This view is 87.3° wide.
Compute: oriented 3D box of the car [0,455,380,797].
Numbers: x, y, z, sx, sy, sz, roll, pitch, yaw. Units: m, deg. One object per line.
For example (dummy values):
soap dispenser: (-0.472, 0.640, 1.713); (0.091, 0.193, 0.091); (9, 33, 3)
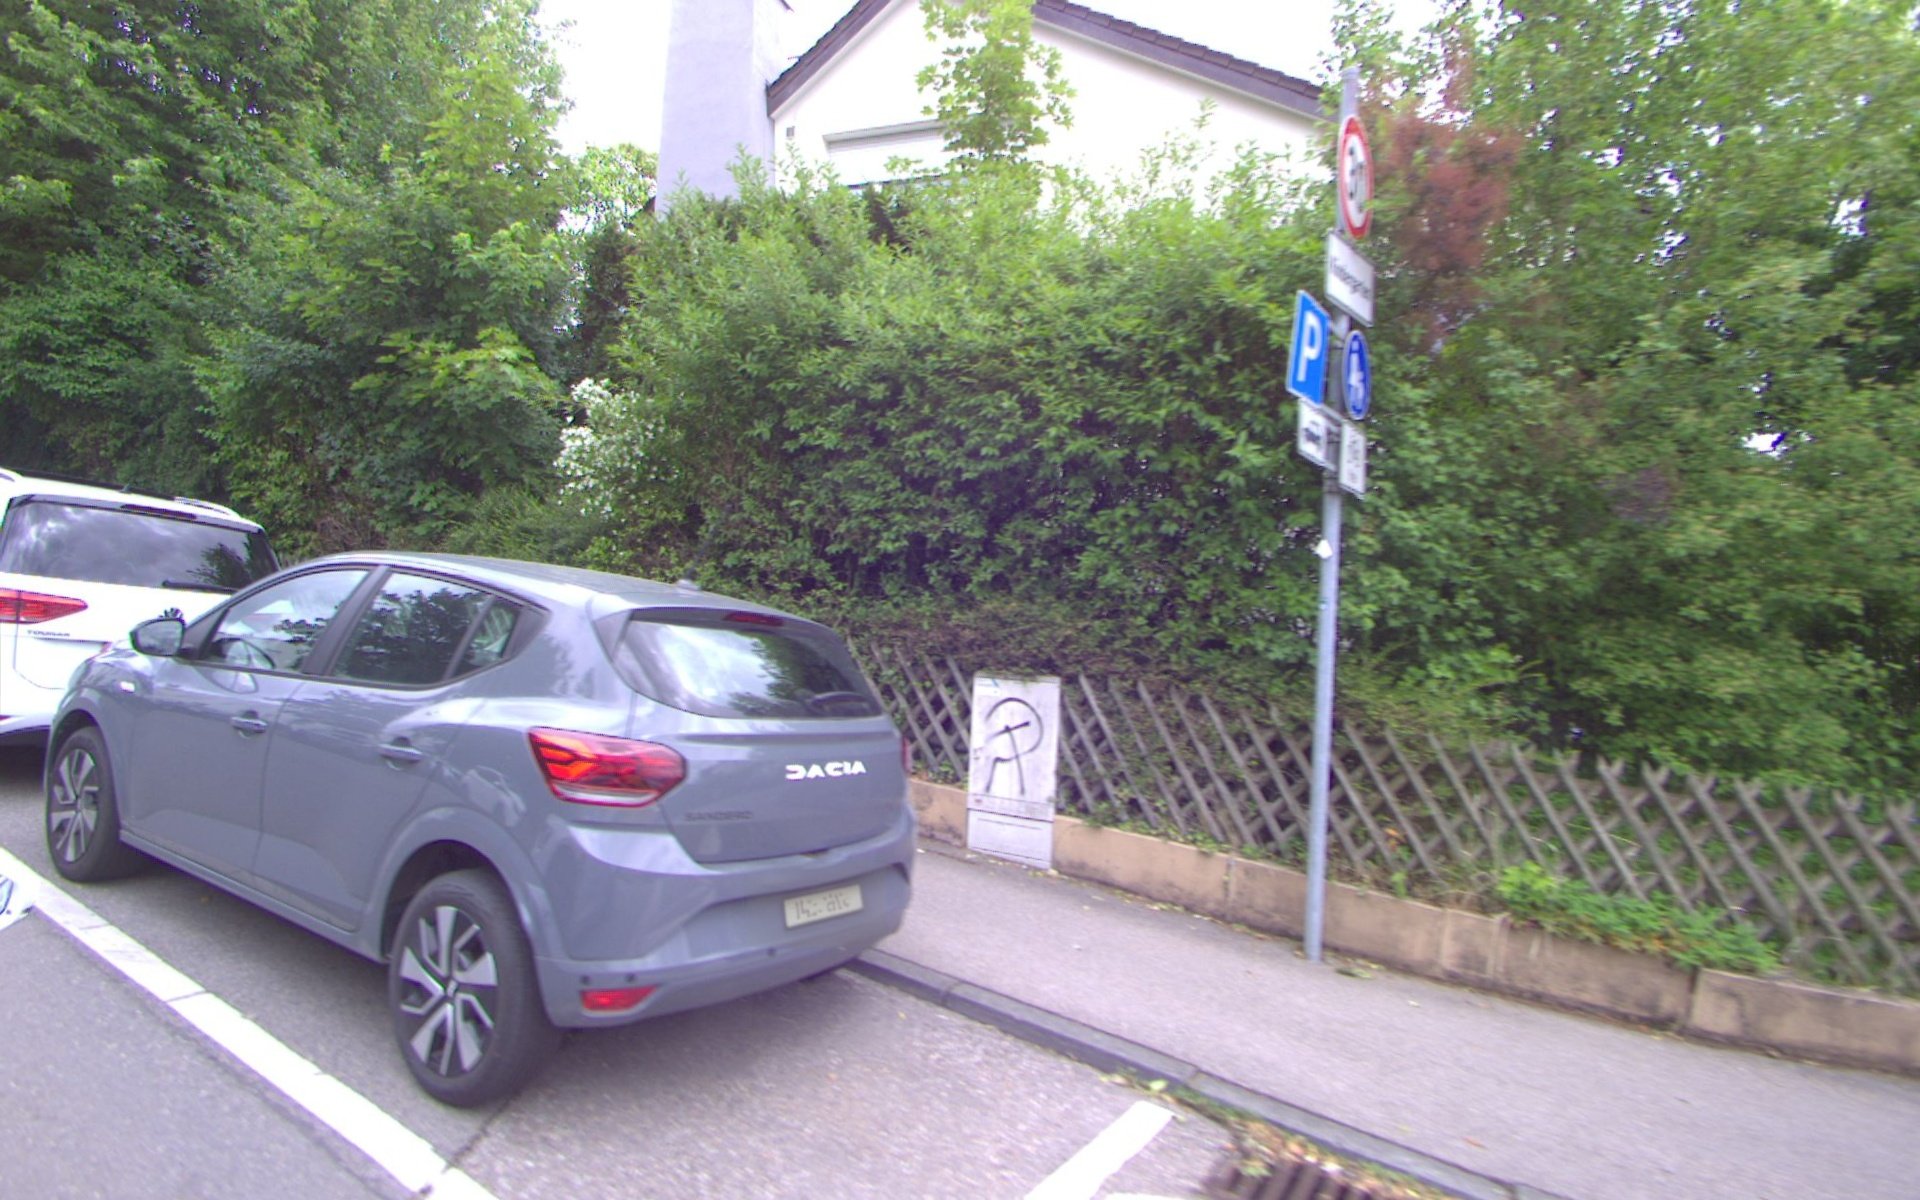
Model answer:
car: (-6.261, -0.063, 6.565); (4.675, 1.629, 2.004); (7, 1, 27)

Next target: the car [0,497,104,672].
car: (-10.026, -0.340, 9.203); (4.302, 1.471, 1.813); (6, 0, 28)

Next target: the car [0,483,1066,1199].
car: (-2.016, 0.492, 4.244); (4.382, 1.510, 1.939); (7, 1, 31)
